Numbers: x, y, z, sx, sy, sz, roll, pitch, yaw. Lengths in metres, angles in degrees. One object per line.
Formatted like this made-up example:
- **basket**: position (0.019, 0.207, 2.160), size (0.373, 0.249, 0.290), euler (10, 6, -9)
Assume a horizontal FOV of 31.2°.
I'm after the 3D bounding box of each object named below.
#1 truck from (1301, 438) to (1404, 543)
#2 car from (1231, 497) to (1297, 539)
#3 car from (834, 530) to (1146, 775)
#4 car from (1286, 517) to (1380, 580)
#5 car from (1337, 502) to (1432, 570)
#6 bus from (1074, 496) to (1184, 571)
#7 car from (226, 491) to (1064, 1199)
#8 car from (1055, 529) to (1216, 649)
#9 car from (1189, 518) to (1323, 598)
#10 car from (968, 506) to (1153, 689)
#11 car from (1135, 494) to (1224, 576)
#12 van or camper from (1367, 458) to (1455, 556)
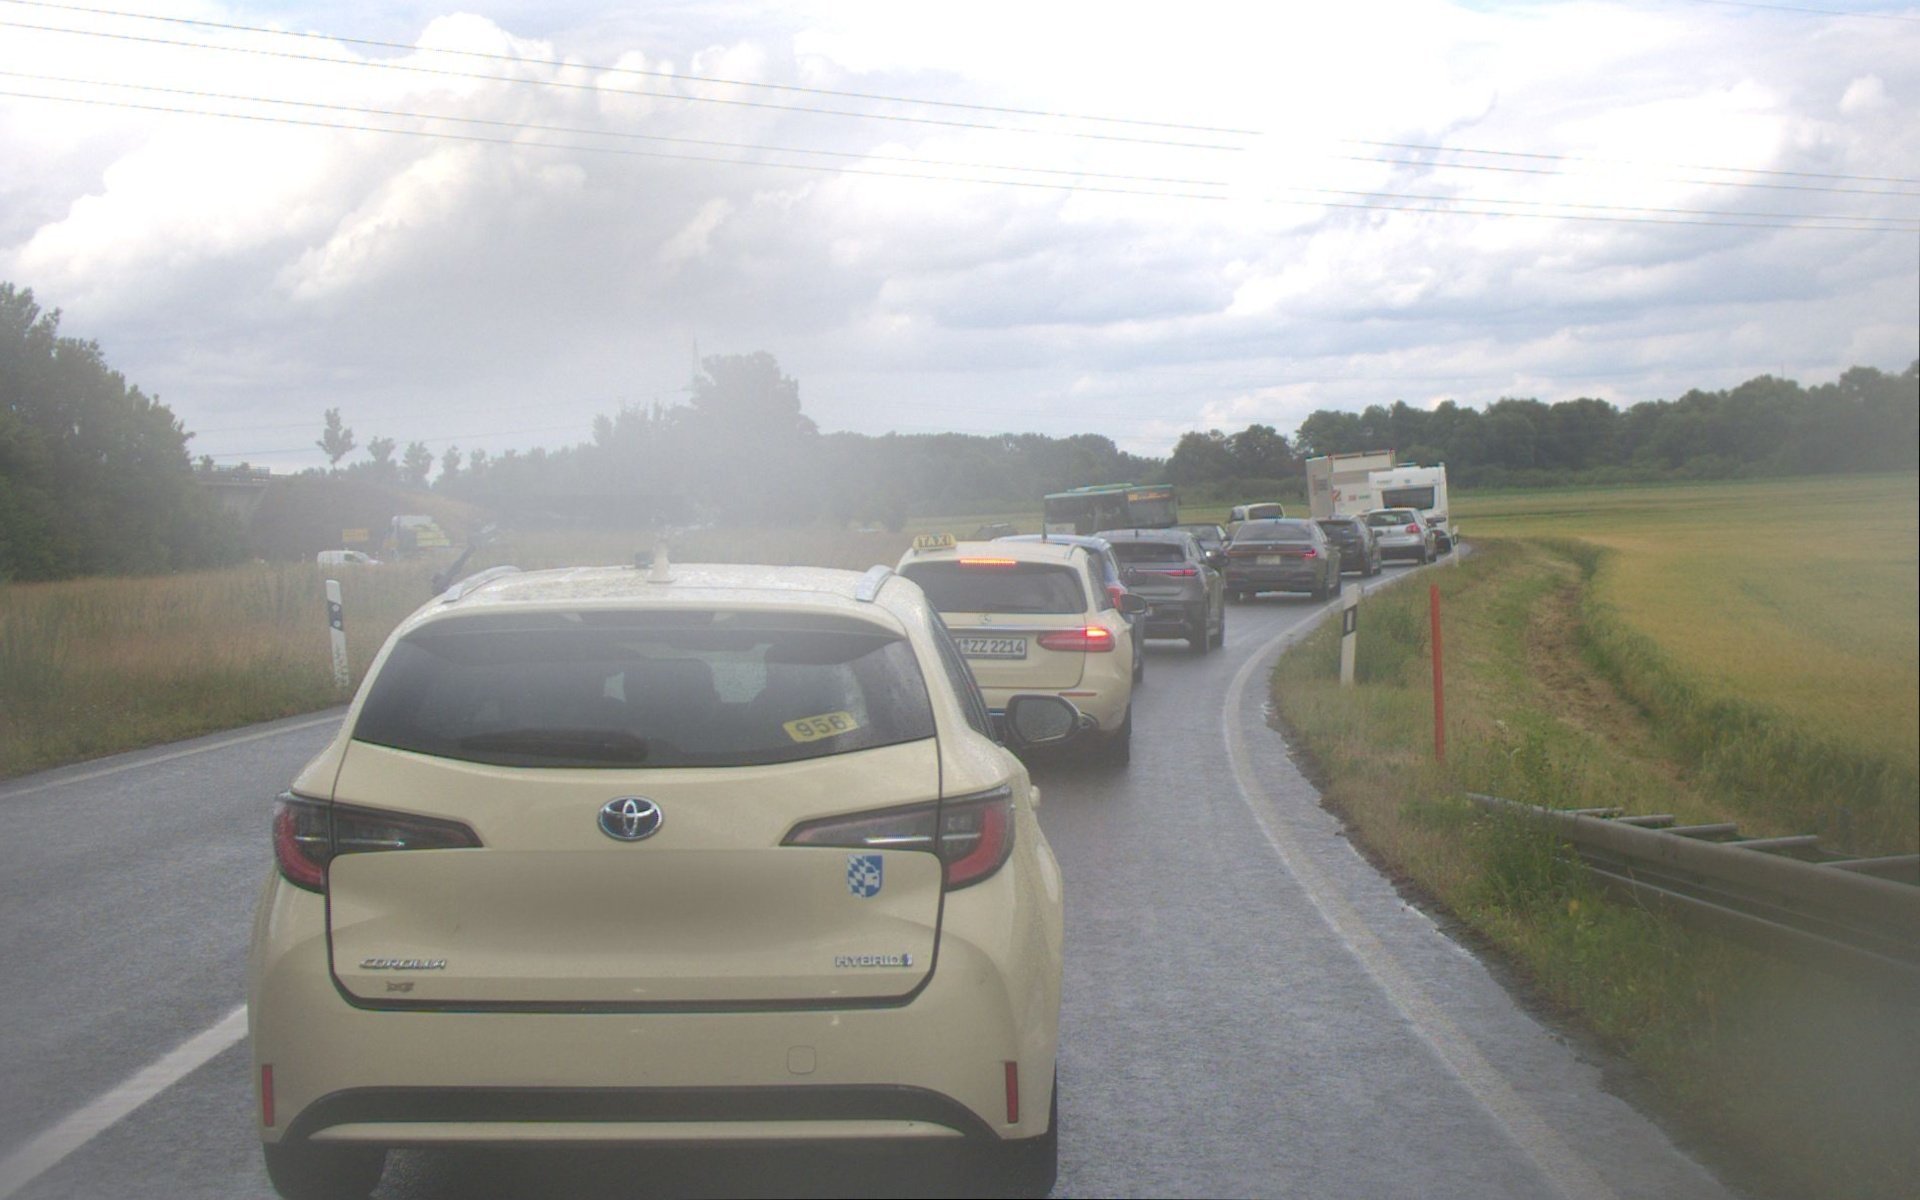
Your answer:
- **truck**: position (15.016, -4.151, 132.004), size (3.126, 3.839, 7.386), euler (1, 0, 0)
- **car**: position (13.343, -3.600, 151.103), size (1.882, 1.767, 4.161), euler (0, 0, -9)
- **car**: position (0.306, 0.277, 23.769), size (1.841, 1.487, 4.607), euler (0, 2, 4)
- **car**: position (8.558, -1.163, 78.709), size (1.826, 1.408, 3.736), euler (1, 0, 11)
- **car**: position (11.045, -1.647, 89.309), size (1.961, 1.723, 3.736), euler (1, 0, 15)
- **bus**: position (7.655, -3.077, 157.374), size (2.757, 3.286, 12.506), euler (0, 1, -8)
- **car**: position (-0.691, 0.560, 8.554), size (1.612, 1.557, 3.739), euler (0, 0, -2)
- **car**: position (2.216, -0.147, 42.688), size (1.613, 1.408, 3.737), euler (1, 0, 9)
- **car**: position (5.481, -0.759, 63.217), size (1.961, 1.408, 4.390), euler (1, 0, 11)
- **car**: position (1.021, -0.034, 33.293), size (1.613, 1.653, 3.738), euler (1, 0, 4)
- **car**: position (5.422, -1.574, 84.580), size (1.907, 1.941, 4.141), euler (1, 0, 7)
- **van or camper**: position (13.705, -2.820, 104.174), size (2.537, 2.886, 6.741), euler (0, 2, 8)
